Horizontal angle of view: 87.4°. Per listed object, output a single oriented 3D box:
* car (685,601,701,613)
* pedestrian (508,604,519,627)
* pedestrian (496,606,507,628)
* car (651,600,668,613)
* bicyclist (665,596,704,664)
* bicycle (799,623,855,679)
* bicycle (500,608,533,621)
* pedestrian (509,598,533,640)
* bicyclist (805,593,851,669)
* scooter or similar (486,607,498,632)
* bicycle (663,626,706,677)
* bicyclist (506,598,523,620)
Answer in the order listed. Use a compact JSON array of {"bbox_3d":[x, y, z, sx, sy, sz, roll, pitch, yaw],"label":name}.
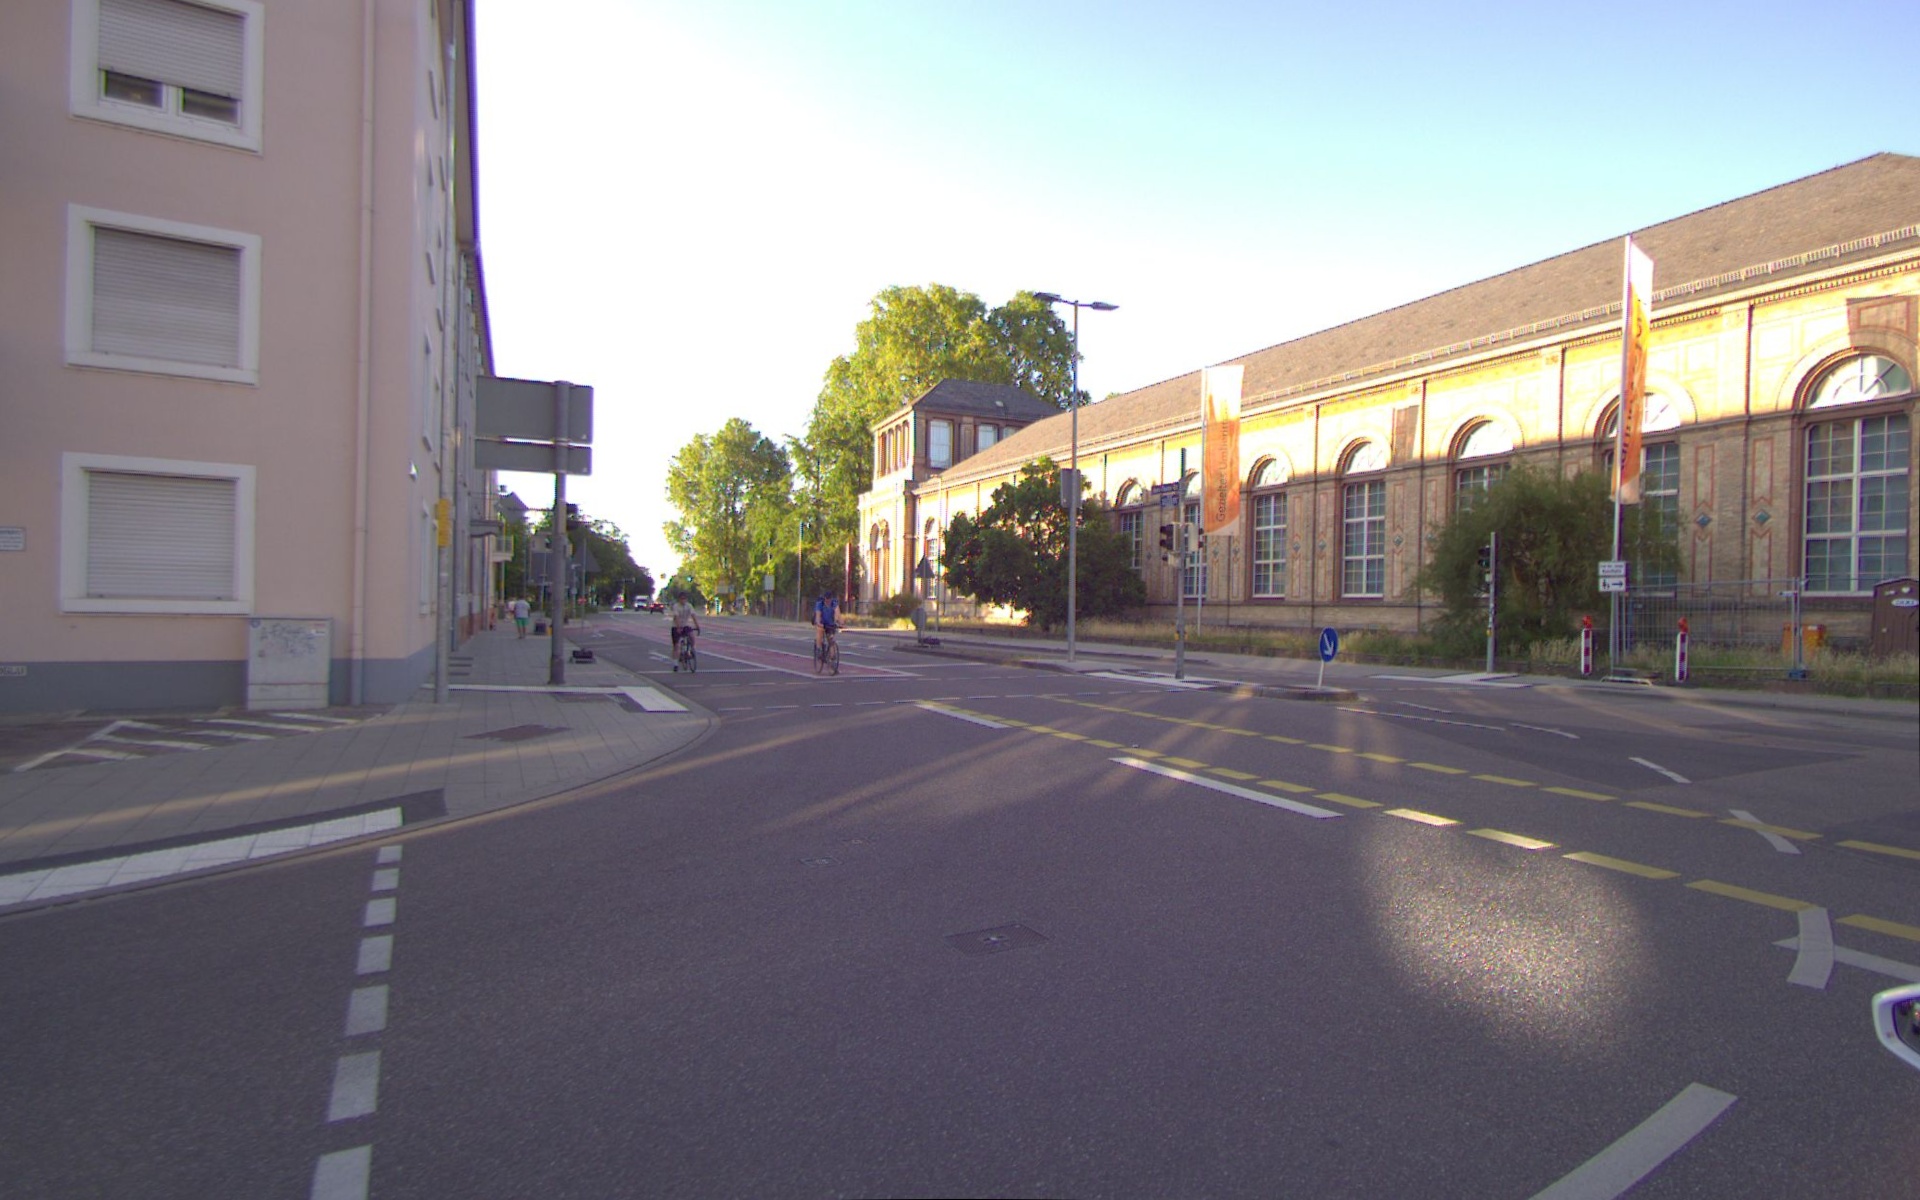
[{"bbox_3d":[-37.945,0.991,142.753,1.969,1.743,3.983,1,0,-18],"label":"car"},{"bbox_3d":[-31.127,1.096,70.062,0.610,1.595,0.718,1,0,-31],"label":"pedestrian"},{"bbox_3d":[-31.851,1.167,69.737,0.610,1.554,0.685,1,0,-31],"label":"pedestrian"},{"bbox_3d":[-41.776,0.883,139.668,1.971,1.743,3.980,1,0,-22],"label":"car"},{"bbox_3d":[-6.051,0.653,22.032,0.702,1.459,0.889,1,0,-22],"label":"bicyclist"},{"bbox_3d":[-2.874,1.064,21.512,0.712,1.082,1.991,1,0,-22],"label":"bicycle"},{"bbox_3d":[-32.988,1.065,74.736,0.760,0.941,2.188,1,0,35],"label":"bicycle"},{"bbox_3d":[-17.740,0.773,40.585,0.865,1.674,0.806,1,-3,-24],"label":"pedestrian"},{"bbox_3d":[-2.827,0.646,21.414,0.703,1.565,1.119,1,0,-22],"label":"bicyclist"},{"bbox_3d":[-22.161,0.917,47.585,0.391,1.143,0.858,1,0,-19],"label":"scooter or similar"},{"bbox_3d":[-6.054,1.101,22.016,0.712,1.024,1.680,1,0,-22],"label":"bicycle"},{"bbox_3d":[-33.102,0.690,74.593,0.741,1.618,0.870,1,0,35],"label":"bicyclist"}]
